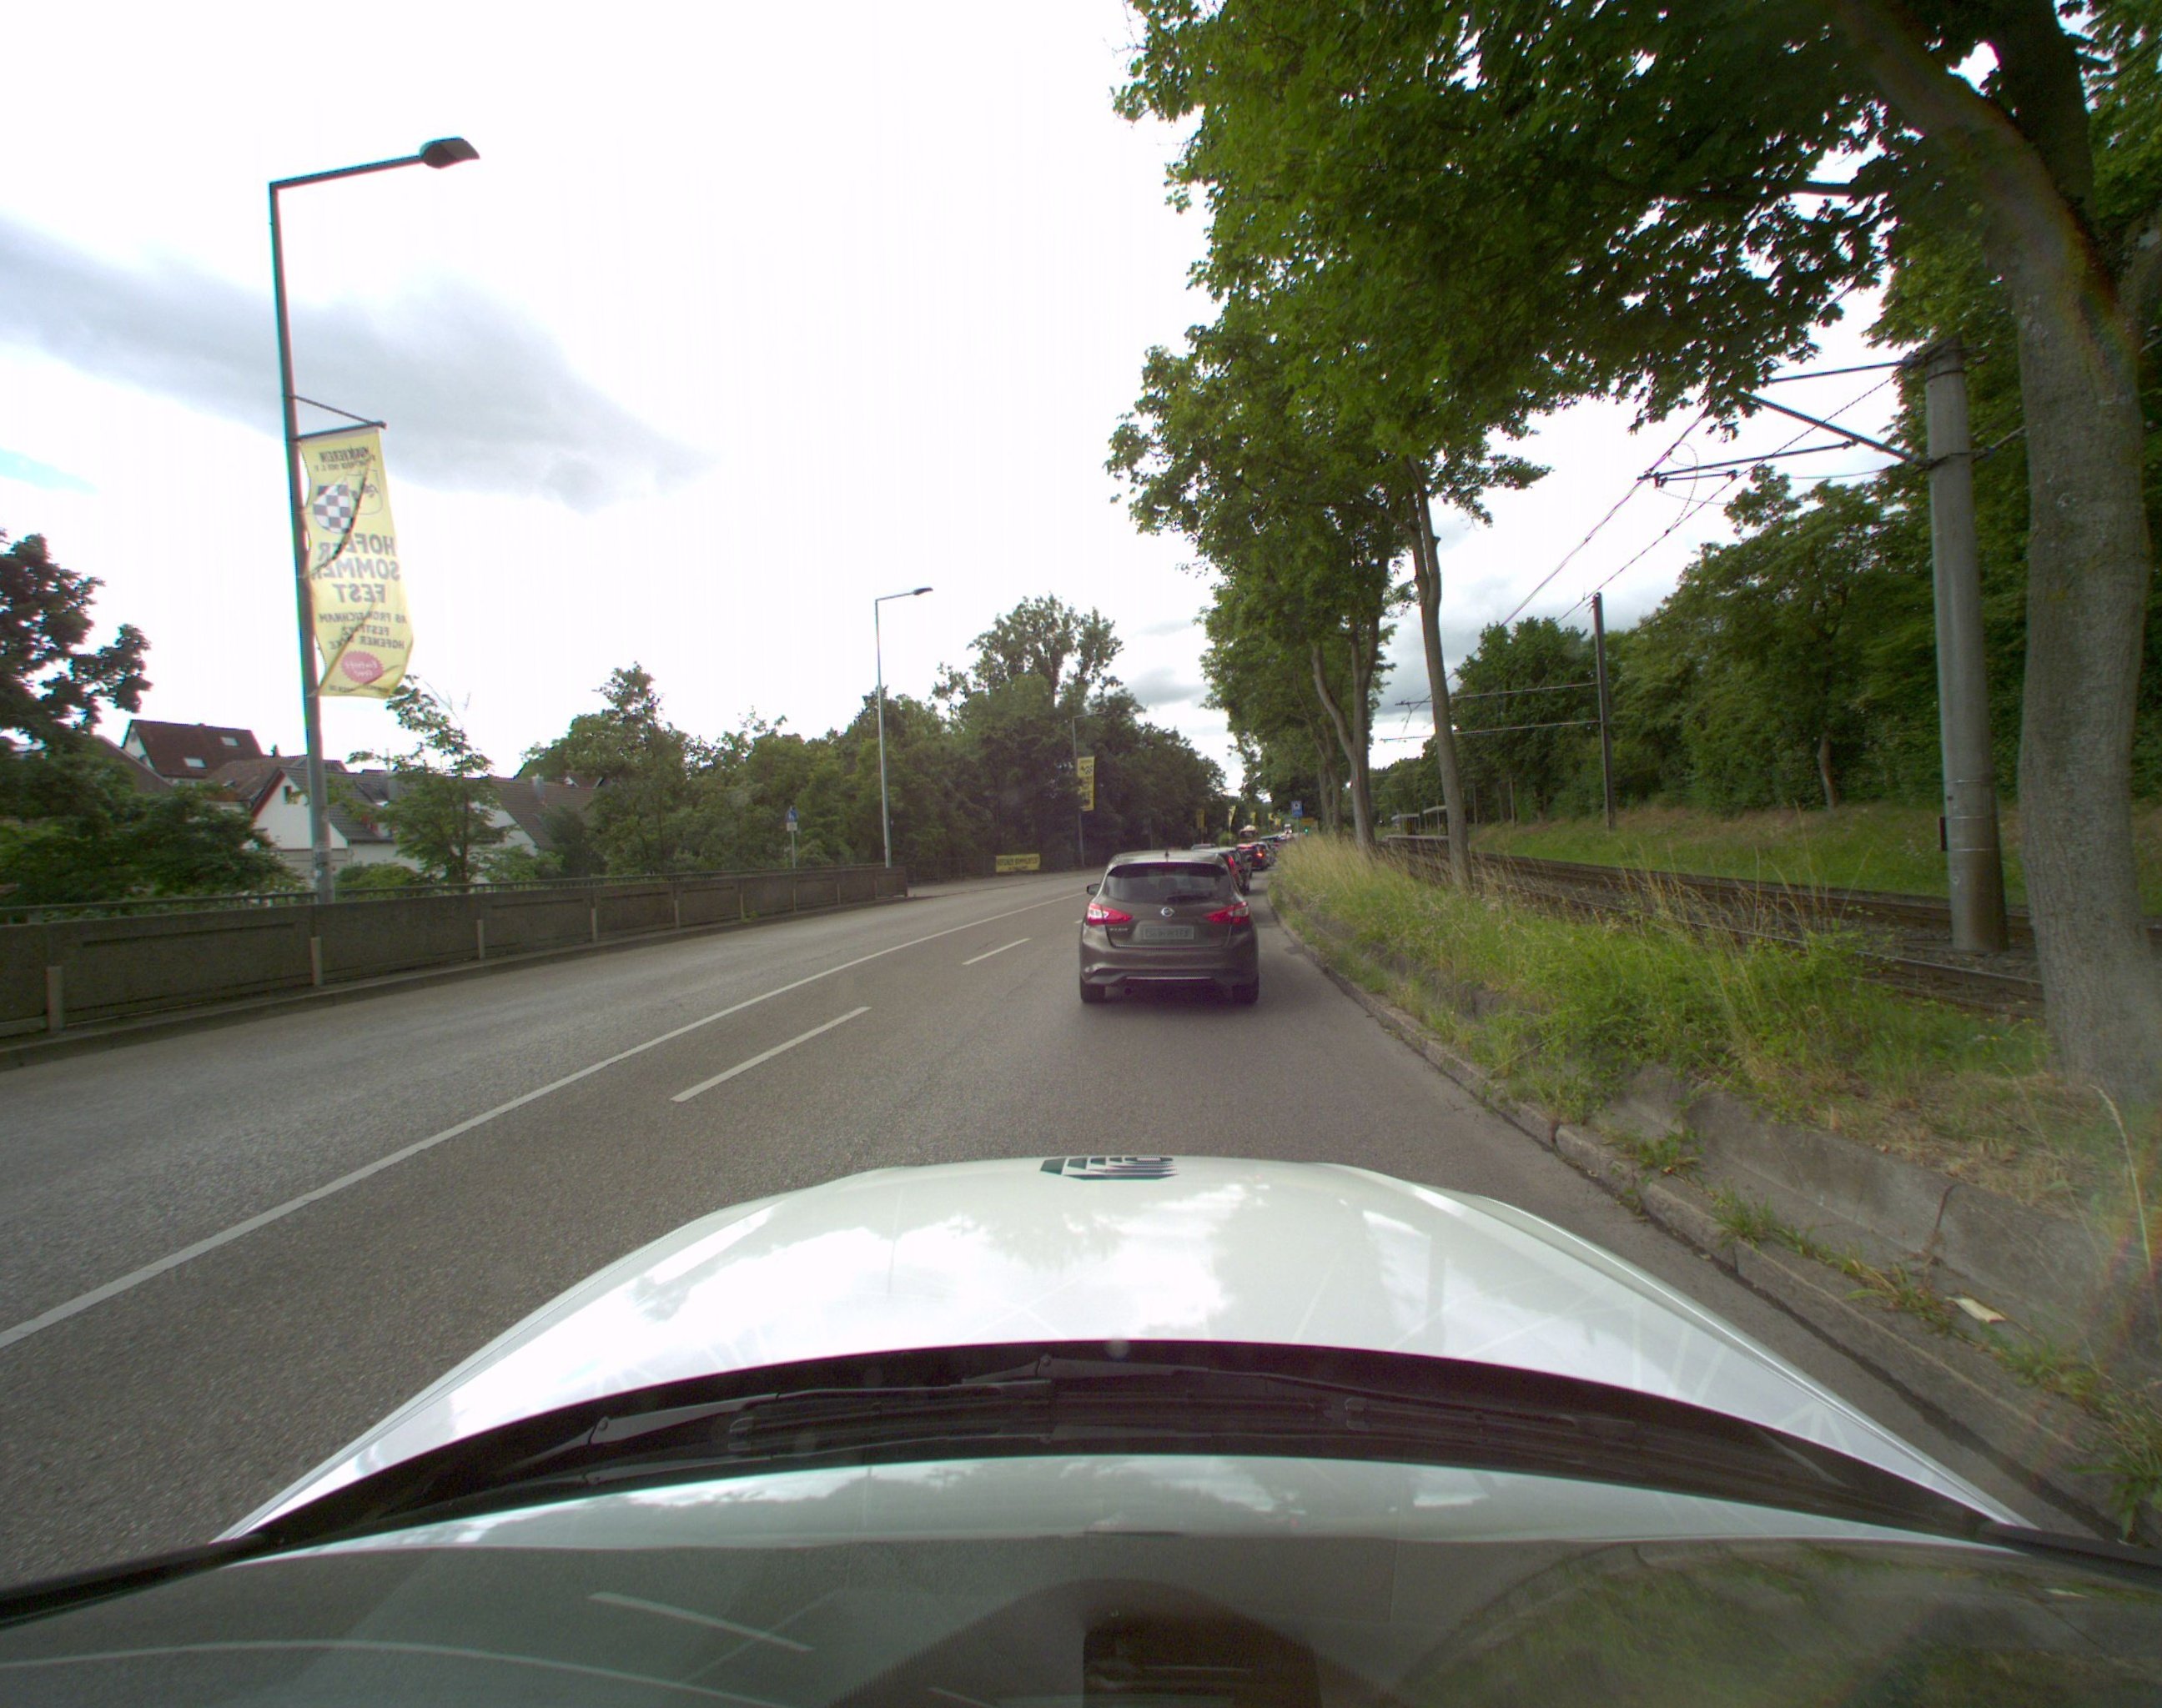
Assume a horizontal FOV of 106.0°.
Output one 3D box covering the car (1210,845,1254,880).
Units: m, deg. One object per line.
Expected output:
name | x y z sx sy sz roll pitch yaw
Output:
car | 6.612 0.334 35.449 1.489 1.364 3.602 -3 -1 15

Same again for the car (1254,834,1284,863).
car | 14.141 -0.433 61.185 1.876 2.013 4.017 -2 0 16

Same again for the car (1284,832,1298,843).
car | 33.852 -2.646 131.216 1.876 1.653 4.017 -2 0 16

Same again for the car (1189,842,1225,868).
car | 7.962 0.059 51.174 1.839 1.486 4.436 -3 -1 13

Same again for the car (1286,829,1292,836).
car | 64.440 -6.660 251.873 1.705 1.693 3.740 -3 -2 15

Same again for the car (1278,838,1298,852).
car | 22.184 -0.965 87.289 1.876 1.445 3.823 -2 0 16

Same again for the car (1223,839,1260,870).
car | 8.619 0.025 43.510 1.792 1.540 4.013 -1 0 12

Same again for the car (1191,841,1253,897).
car | 4.519 0.440 25.726 1.566 1.538 4.015 -3 -1 14

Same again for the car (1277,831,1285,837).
car | 54.116 -5.352 220.229 1.739 1.420 4.015 -3 -2 15

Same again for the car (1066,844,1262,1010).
car | 1.074 0.687 9.435 1.764 1.494 4.010 -1 -1 9

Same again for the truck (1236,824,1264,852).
truck | 25.662 -2.430 123.258 2.633 3.938 10.161 -2 0 19

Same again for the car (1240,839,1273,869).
car | 10.906 0.011 50.407 1.705 1.693 4.016 -3 -2 15

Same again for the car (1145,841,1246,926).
car | 2.502 0.592 17.660 1.882 1.574 4.010 -2 -1 9
